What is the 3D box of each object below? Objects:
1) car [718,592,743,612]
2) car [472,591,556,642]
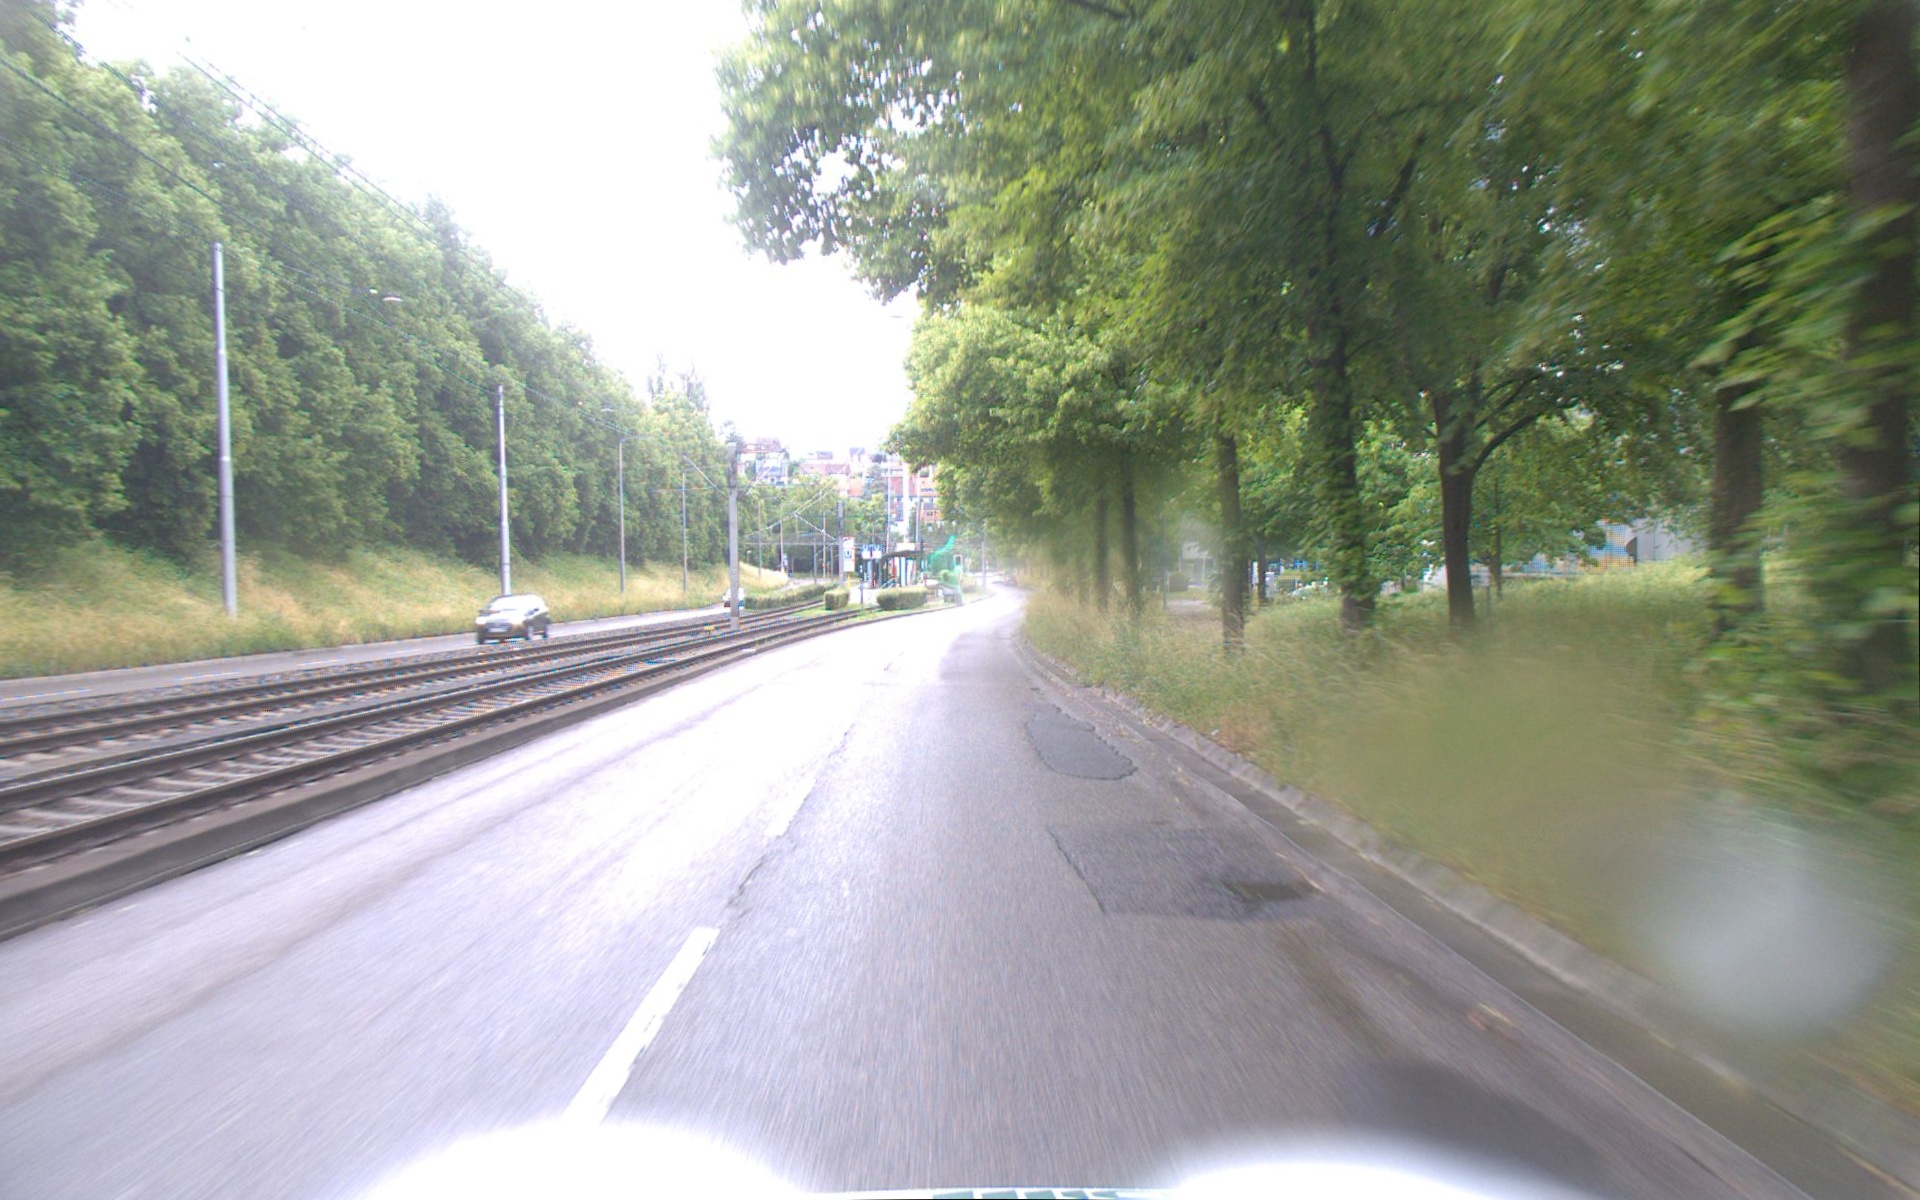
[{"bbox_3d":[-19.448,0.138,140.309,1.749,1.579,3.959,-2,0,-3],"label":"car"},{"bbox_3d":[-14.091,0.497,52.451,1.636,1.468,4.025,-3,0,-2],"label":"car"}]
